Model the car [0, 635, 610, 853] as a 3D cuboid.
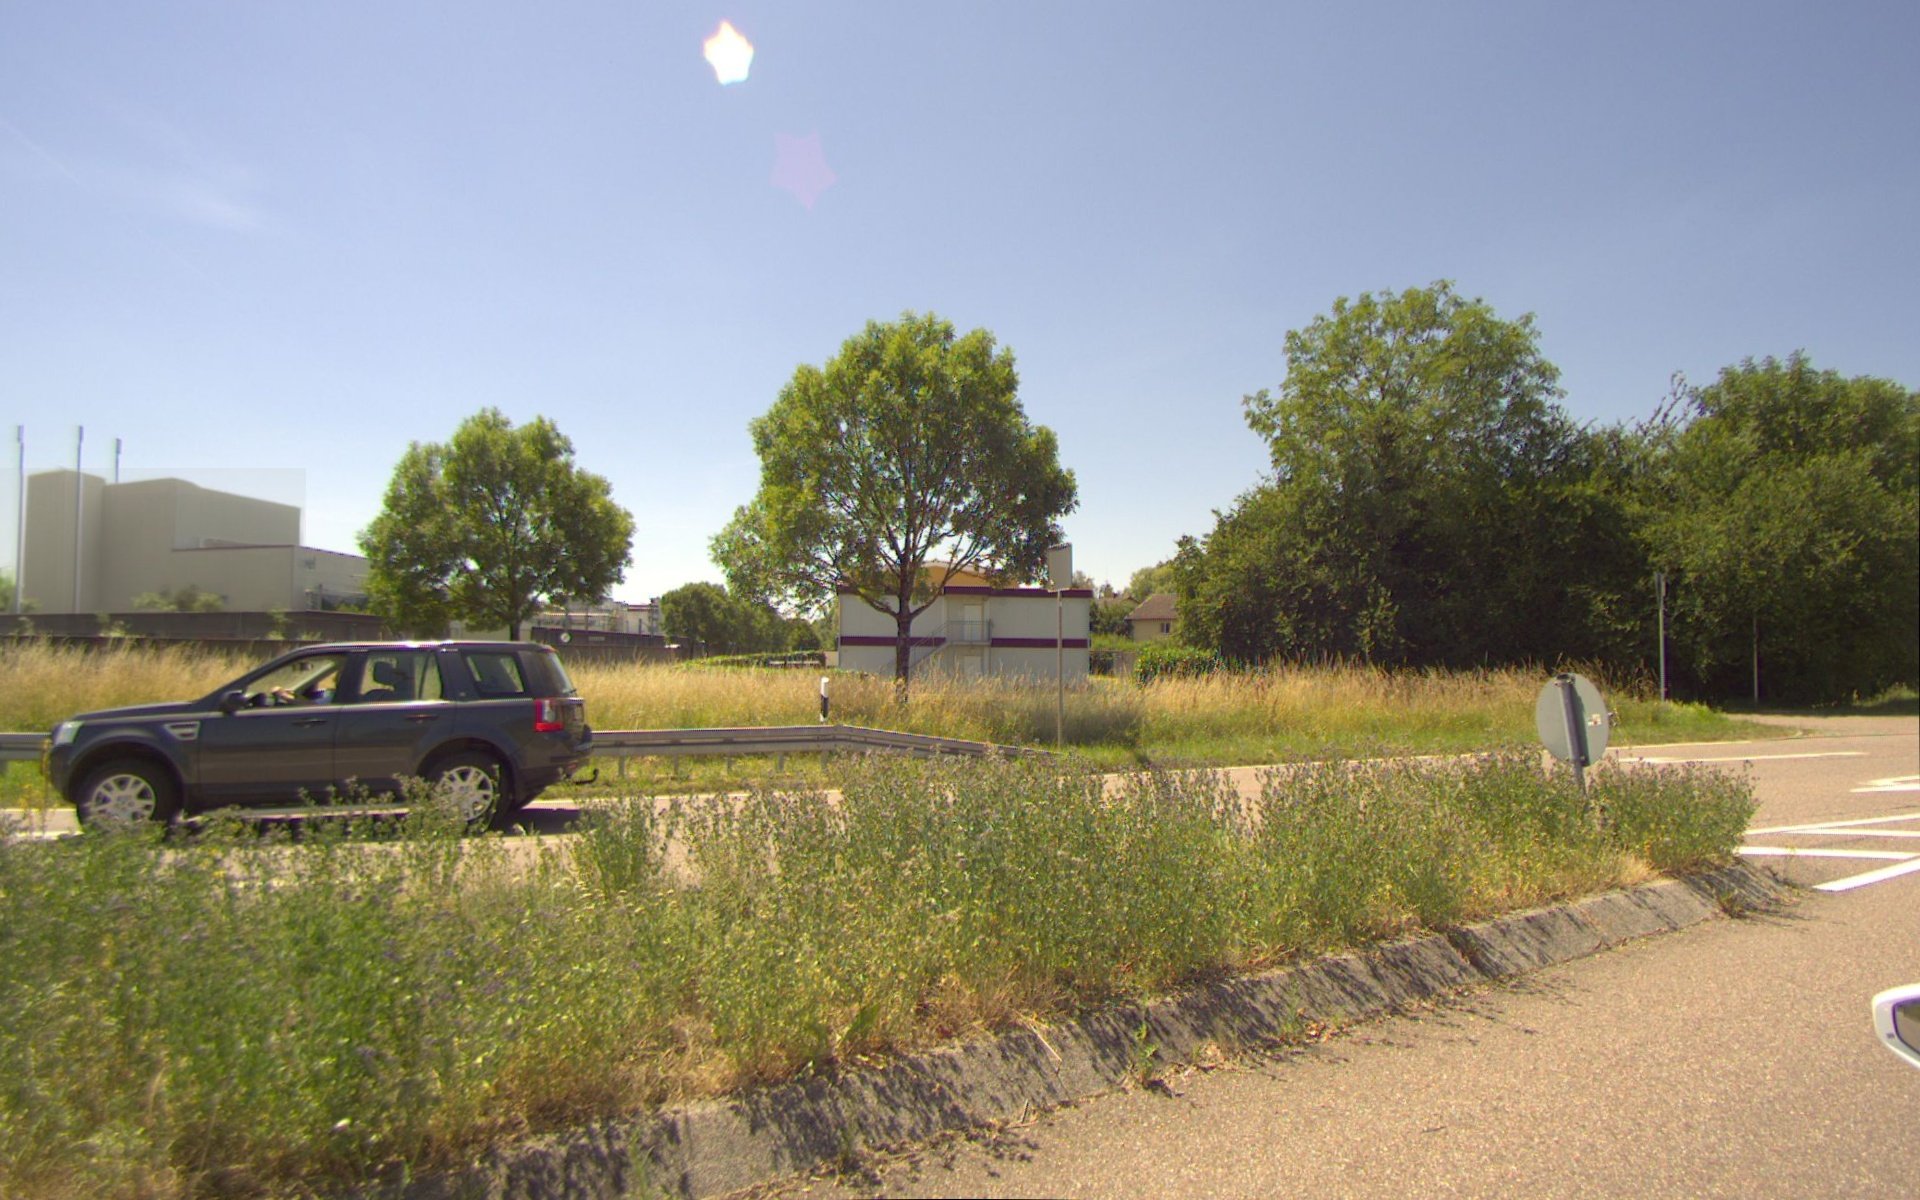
[{"bbox_3d":[-5.801,1.261,9.625,4.407,1.744,1.996,0,-5,-14],"label":"car"}]
